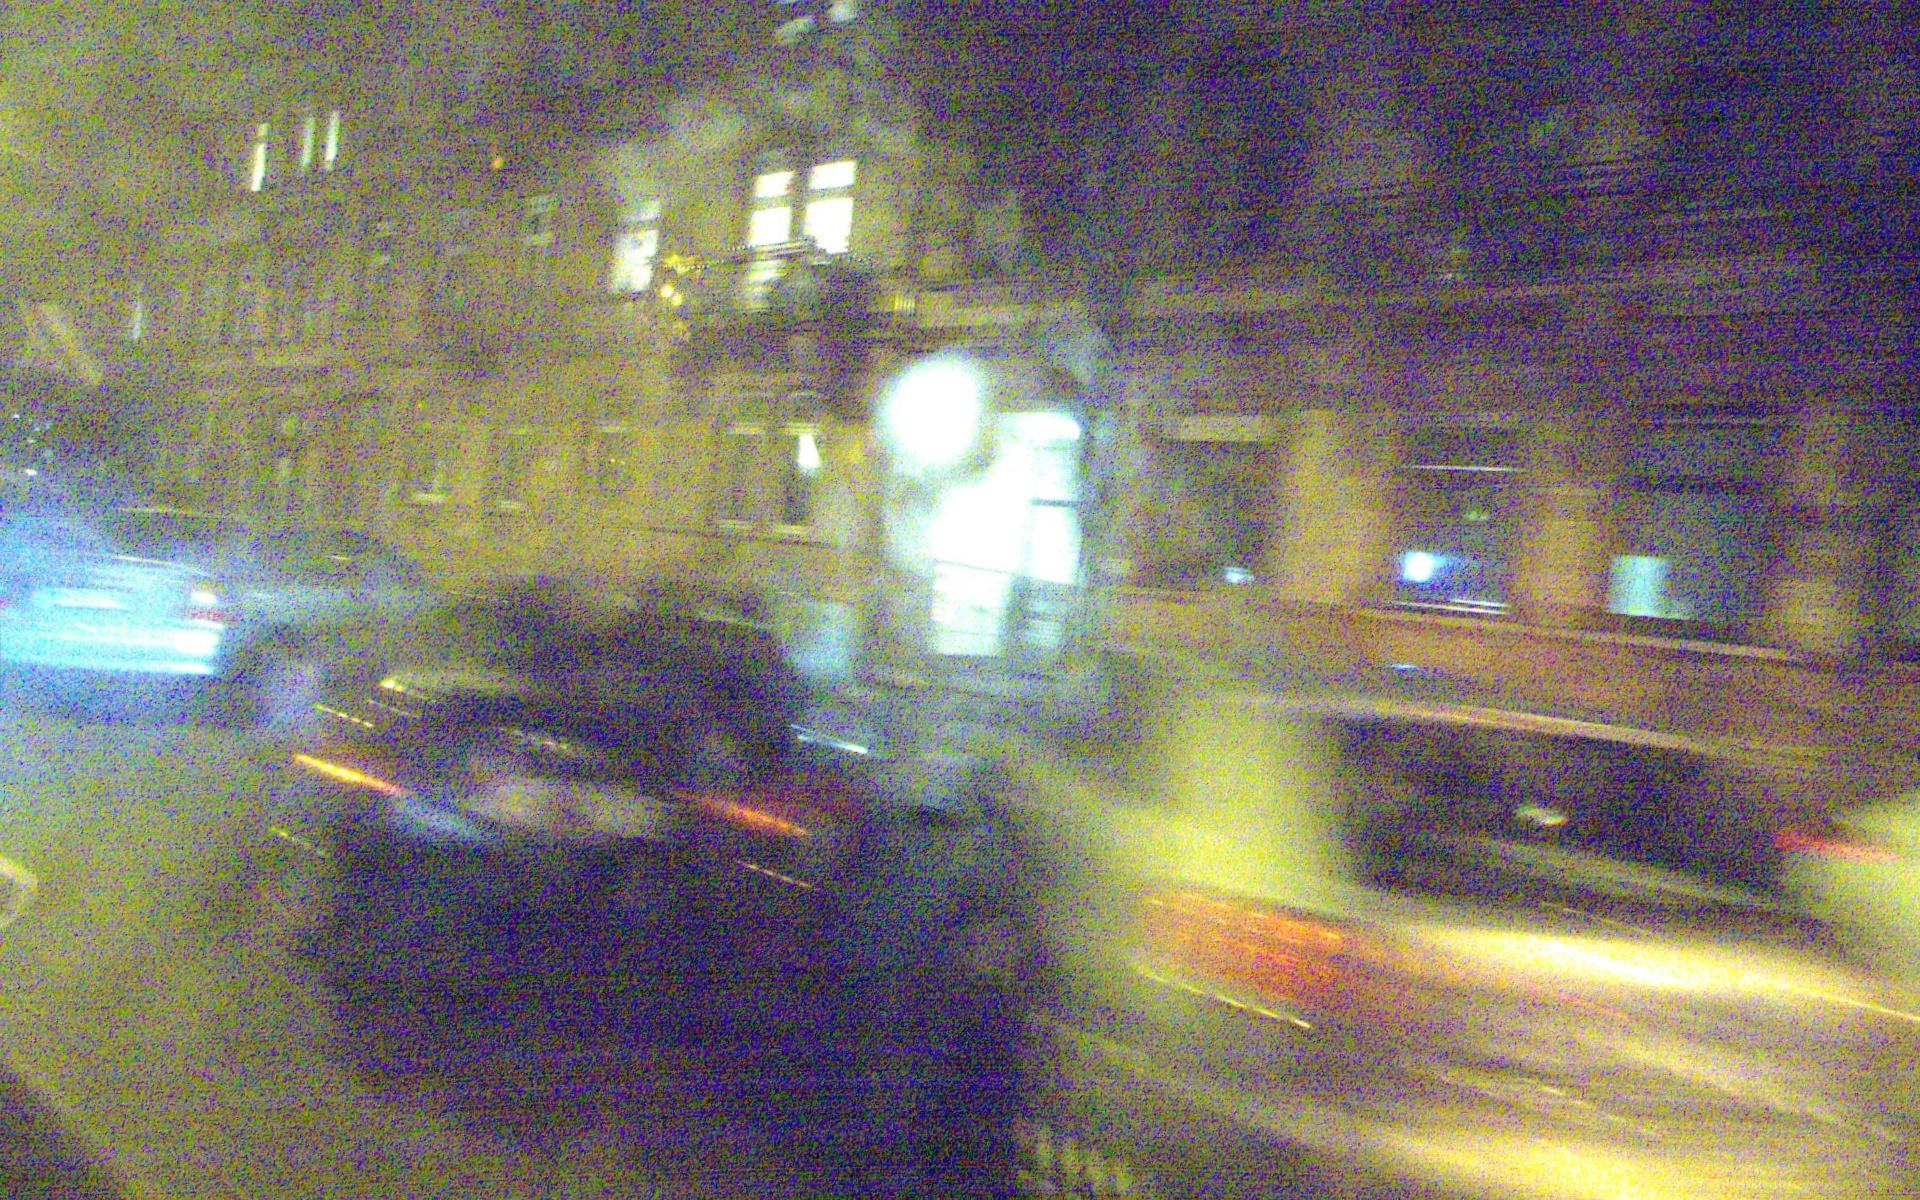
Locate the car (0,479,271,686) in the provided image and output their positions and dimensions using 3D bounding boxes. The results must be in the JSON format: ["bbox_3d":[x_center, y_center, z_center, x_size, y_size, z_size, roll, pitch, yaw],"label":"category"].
[{"bbox_3d":[-7.656,-0.221,8.199,1.575,1.479,3.680,6,1,-3],"label":"car"}]

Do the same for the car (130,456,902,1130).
[{"bbox_3d":[-1.245,0.506,4.580,1.772,1.572,3.997,6,0,-3],"label":"car"}]

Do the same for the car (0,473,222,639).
[{"bbox_3d":[-9.971,-0.501,10.482,1.562,1.599,3.655,7,-1,4],"label":"car"}]

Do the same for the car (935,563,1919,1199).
[{"bbox_3d":[1.106,0.810,3.643,1.964,1.572,3.995,6,0,-6],"label":"car"}]

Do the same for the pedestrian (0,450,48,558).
[{"bbox_3d":[-17.524,-1.777,18.435,0.976,1.880,0.869,7,3,29],"label":"pedestrian"}]

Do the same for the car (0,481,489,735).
[{"bbox_3d":[-5.653,-0.011,8.408,1.658,1.471,3.994,6,2,-4],"label":"car"}]

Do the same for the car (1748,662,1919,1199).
[{"bbox_3d":[3.549,1.072,1.678,1.531,1.561,3.652,6,0,2],"label":"car"}]

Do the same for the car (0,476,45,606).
[{"bbox_3d":[-12.413,-0.817,11.025,1.565,1.600,3.649,7,-1,-7],"label":"car"}]
